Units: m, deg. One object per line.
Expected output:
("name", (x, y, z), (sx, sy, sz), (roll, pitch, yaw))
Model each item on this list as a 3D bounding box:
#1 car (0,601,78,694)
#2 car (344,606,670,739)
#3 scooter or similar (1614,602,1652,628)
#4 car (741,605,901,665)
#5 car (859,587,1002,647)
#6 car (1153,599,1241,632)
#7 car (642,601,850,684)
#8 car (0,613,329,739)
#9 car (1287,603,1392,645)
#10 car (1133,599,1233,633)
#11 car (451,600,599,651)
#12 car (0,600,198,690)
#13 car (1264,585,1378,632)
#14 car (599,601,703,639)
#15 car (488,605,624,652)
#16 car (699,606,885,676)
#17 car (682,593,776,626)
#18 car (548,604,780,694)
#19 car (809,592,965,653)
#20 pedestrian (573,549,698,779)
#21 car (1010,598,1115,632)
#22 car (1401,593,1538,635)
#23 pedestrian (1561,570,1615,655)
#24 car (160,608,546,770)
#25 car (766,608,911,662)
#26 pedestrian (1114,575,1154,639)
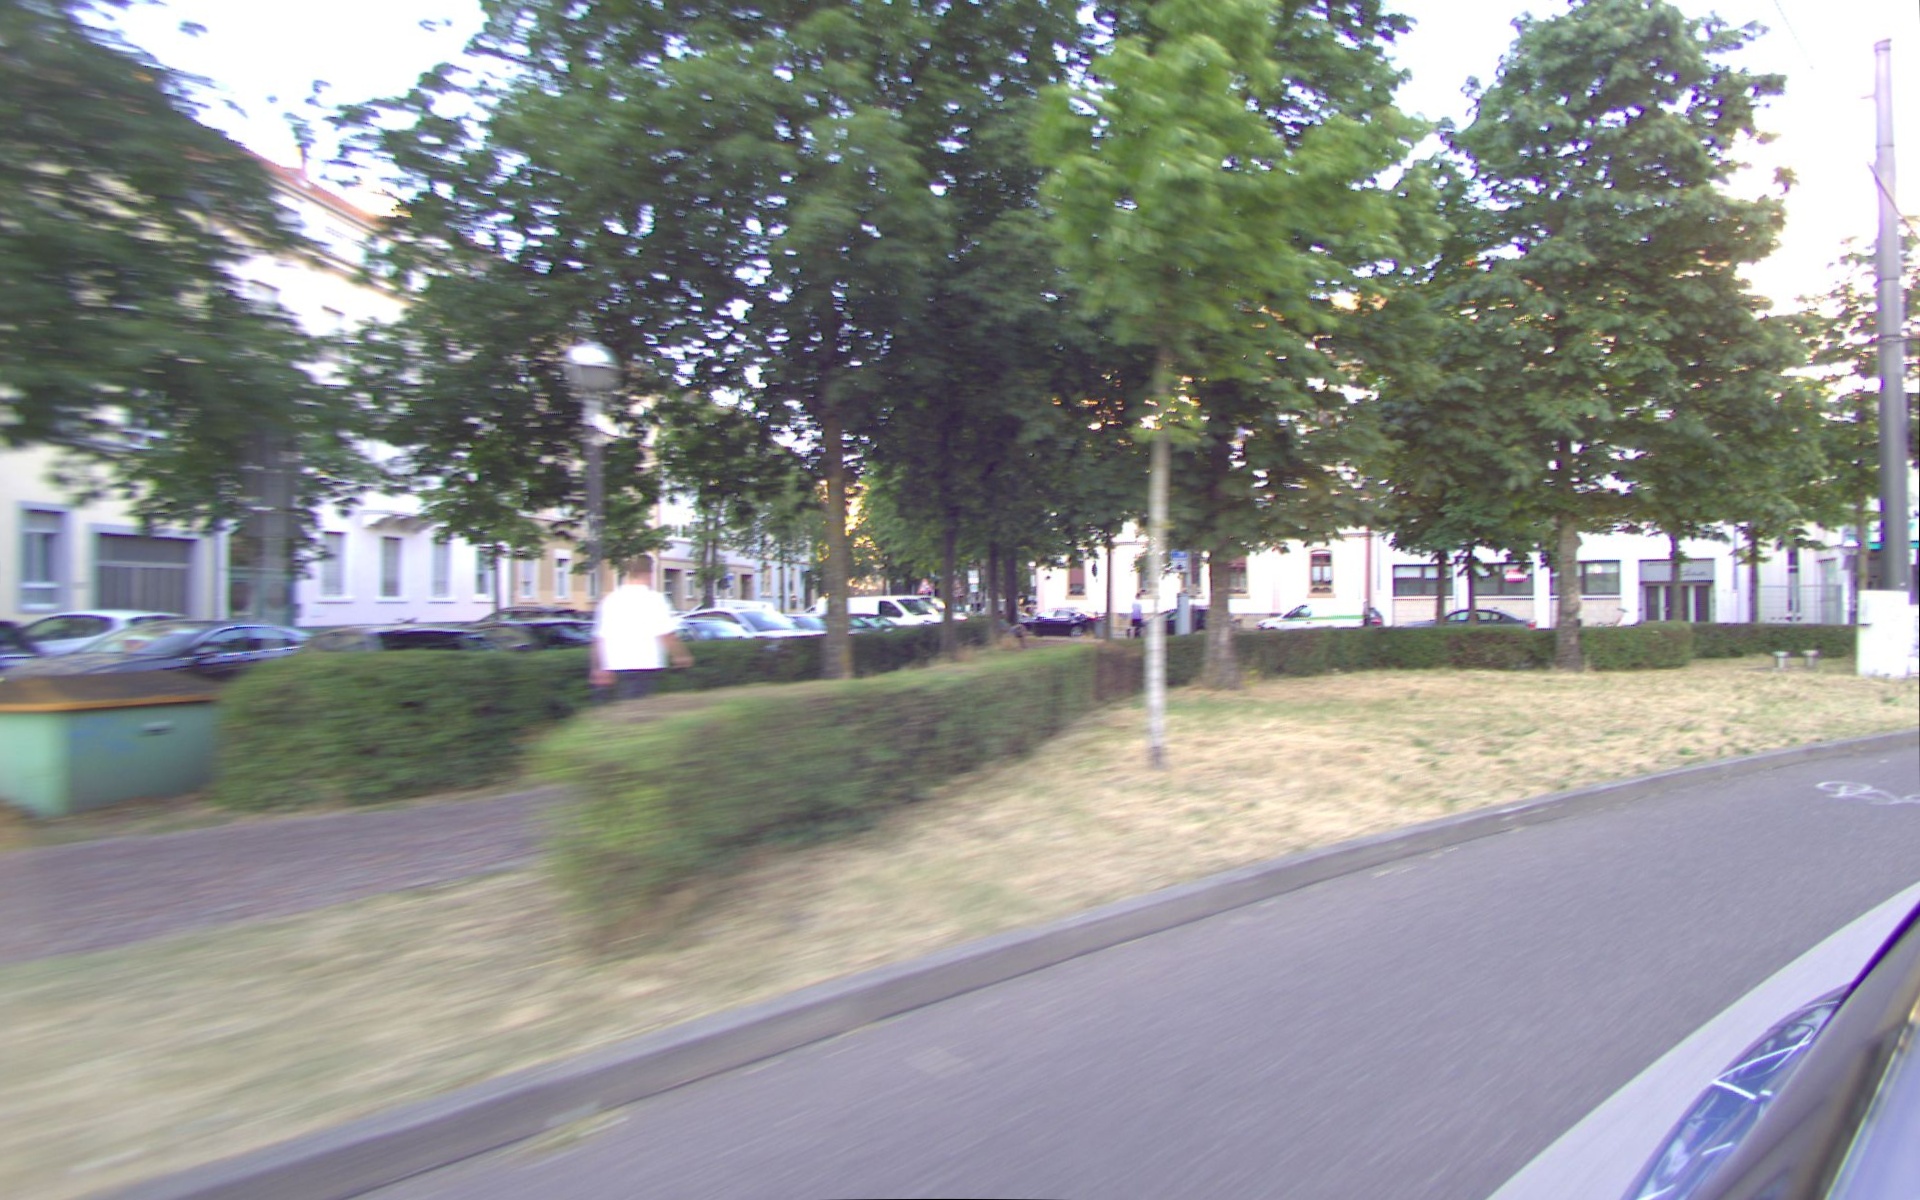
("car", (-17.465, 0.771, 17.051), (4.003, 1.504, 1.832), (0, -1, 10))
("car", (-6.153, 0.883, 13.747), (4.024, 1.577, 1.850), (0, -1, 24))
("scooter or similar", (27.050, 0.589, 40.654), (0.480, 1.045, 1.180), (1, -1, -39))
("car", (-3.866, 0.927, 28.286), (4.024, 1.571, 1.983), (0, -1, 24))
("car", (-1.121, 0.601, 37.128), (5.043, 2.048, 1.944), (0, -1, 32))
("car", (10.963, 0.703, 46.834), (3.646, 1.468, 1.682), (0, -1, 31))
("car", (-4.593, 0.855, 21.759), (4.024, 1.639, 1.983), (0, -1, 24))
("car", (-11.184, 0.945, 14.290), (1.788, 1.501, 4.131), (0, -1, 4))
("car", (16.150, 0.994, 43.110), (3.981, 1.747, 1.682), (0, -1, 31))
("car", (9.254, 0.637, 41.996), (3.750, 1.353, 1.710), (0, -1, 29))
("car", (-14.191, 0.816, 33.120), (4.000, 1.571, 1.995), (0, -1, 8))
("car", (-17.054, 0.803, 19.305), (4.004, 1.590, 1.831), (0, -1, 12))
("car", (13.974, 0.315, 39.197), (3.978, 1.747, 1.684), (0, -1, 29))
("car", (-13.342, 0.846, 43.737), (4.024, 1.571, 1.983), (0, -1, 24))
("car", (-14.191, 0.970, 35.686), (4.000, 1.571, 1.995), (0, -1, 8))
("car", (-4.050, 0.935, 24.428), (4.024, 1.571, 1.983), (0, -1, 24))
("car", (-11.697, 0.469, 51.409), (4.325, 1.633, 1.725), (0, -1, 8))
("car", (-5.747, 0.883, 19.655), (4.024, 1.571, 1.983), (0, -1, 24))
("car", (-2.494, 0.719, 34.177), (5.043, 1.927, 2.097), (0, -1, 32))
("pedestrian", (-2.562, 0.487, 8.073), (0.754, 1.738, 0.786), (0, -1, -2))
("car", (4.546, 0.651, 44.882), (4.357, 1.437, 1.710), (0, -1, 30))
("car", (18.298, 0.475, 36.433), (4.285, 1.427, 1.788), (0, 1, 30))
("pedestrian", (12.414, 0.252, 20.013), (0.637, 1.646, 0.615), (1, -1, -13))
("car", (-6.957, 0.892, 11.610), (4.024, 1.577, 1.850), (0, -1, 24))
("car", (-3.756, 1.038, 31.355), (4.024, 1.571, 1.983), (0, -1, 24))
("pedestrian", (5.693, 0.230, 33.190), (0.989, 2.039, 0.830), (1, -1, -30))
